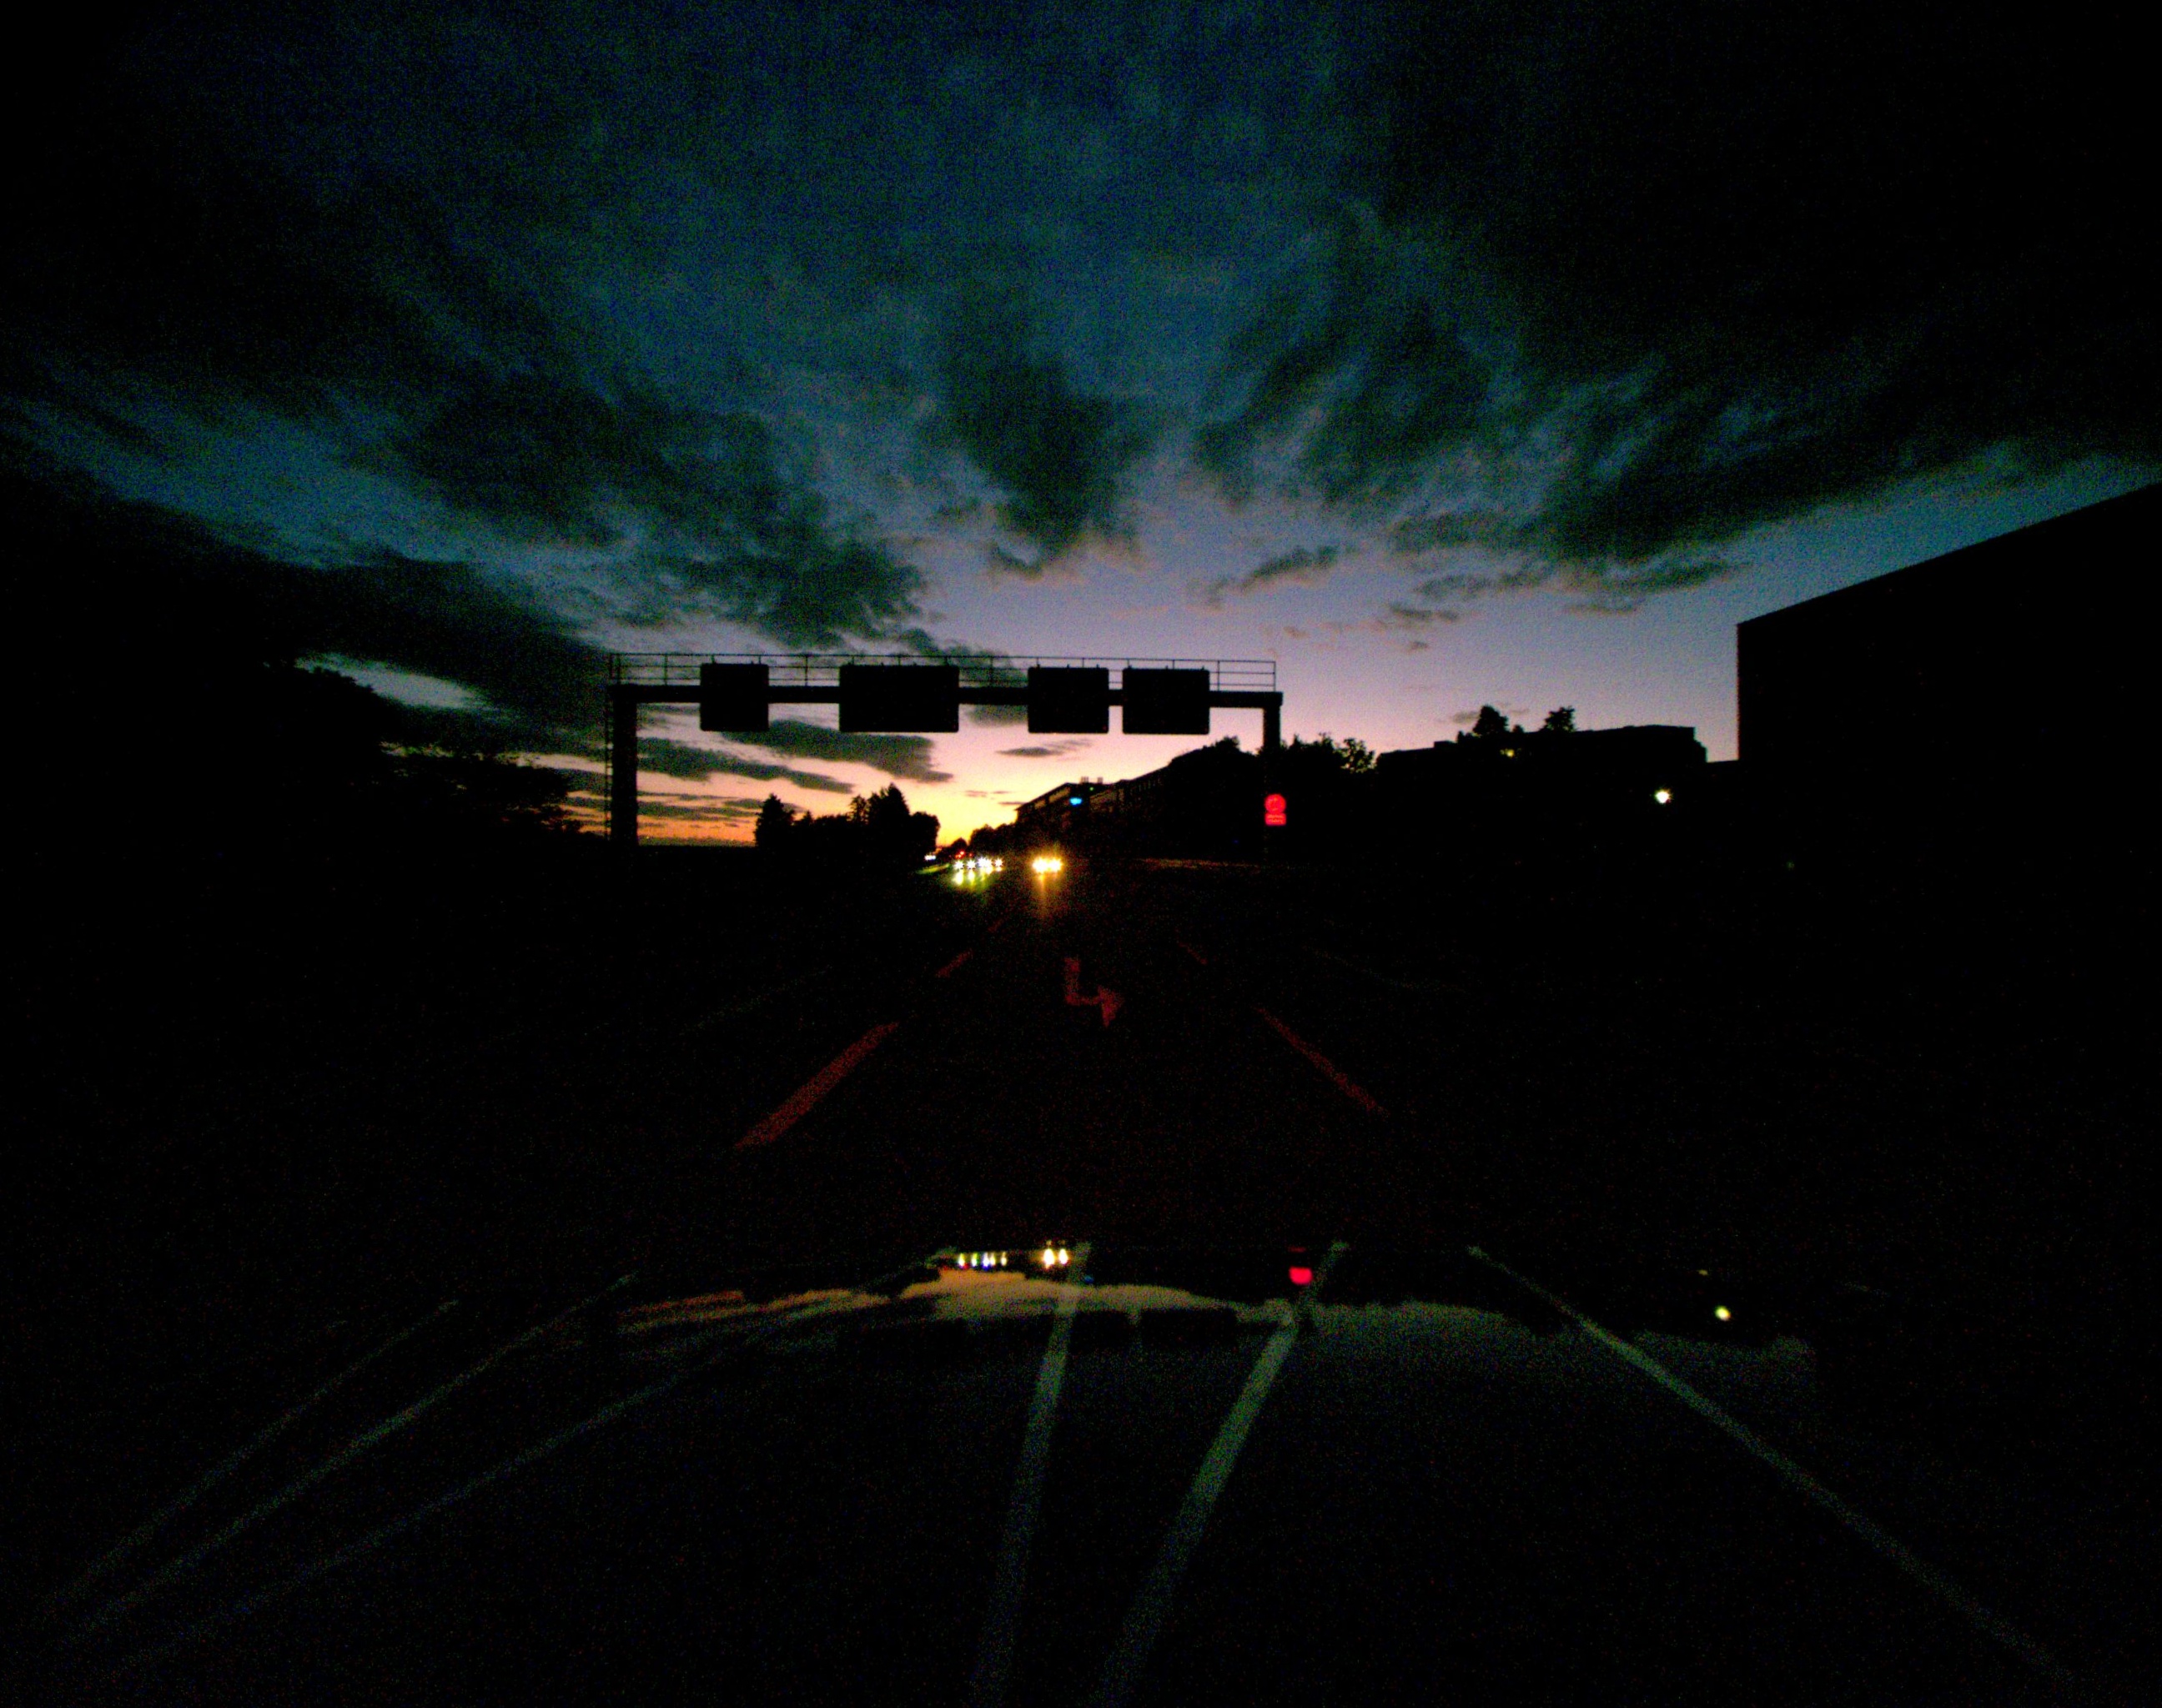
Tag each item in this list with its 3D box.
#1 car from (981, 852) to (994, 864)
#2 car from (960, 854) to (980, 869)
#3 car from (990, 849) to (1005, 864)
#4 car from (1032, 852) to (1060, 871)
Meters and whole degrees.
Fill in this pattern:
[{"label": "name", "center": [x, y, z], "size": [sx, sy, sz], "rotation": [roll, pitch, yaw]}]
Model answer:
[{"label": "car", "center": [-14.550, 0.601, 118.358], "size": [1.834, 1.739, 3.847], "rotation": [-3, 0, -10]}, {"label": "car", "center": [-12.812, 0.808, 87.765], "size": [1.999, 1.575, 3.998], "rotation": [-3, 0, -5]}, {"label": "car", "center": [-11.657, 0.377, 106.001], "size": [1.863, 2.002, 3.998], "rotation": [-3, 1, -5]}, {"label": "car", "center": [-2.972, 0.626, 63.802], "size": [1.757, 1.447, 3.800], "rotation": [-3, 0, -9]}]
